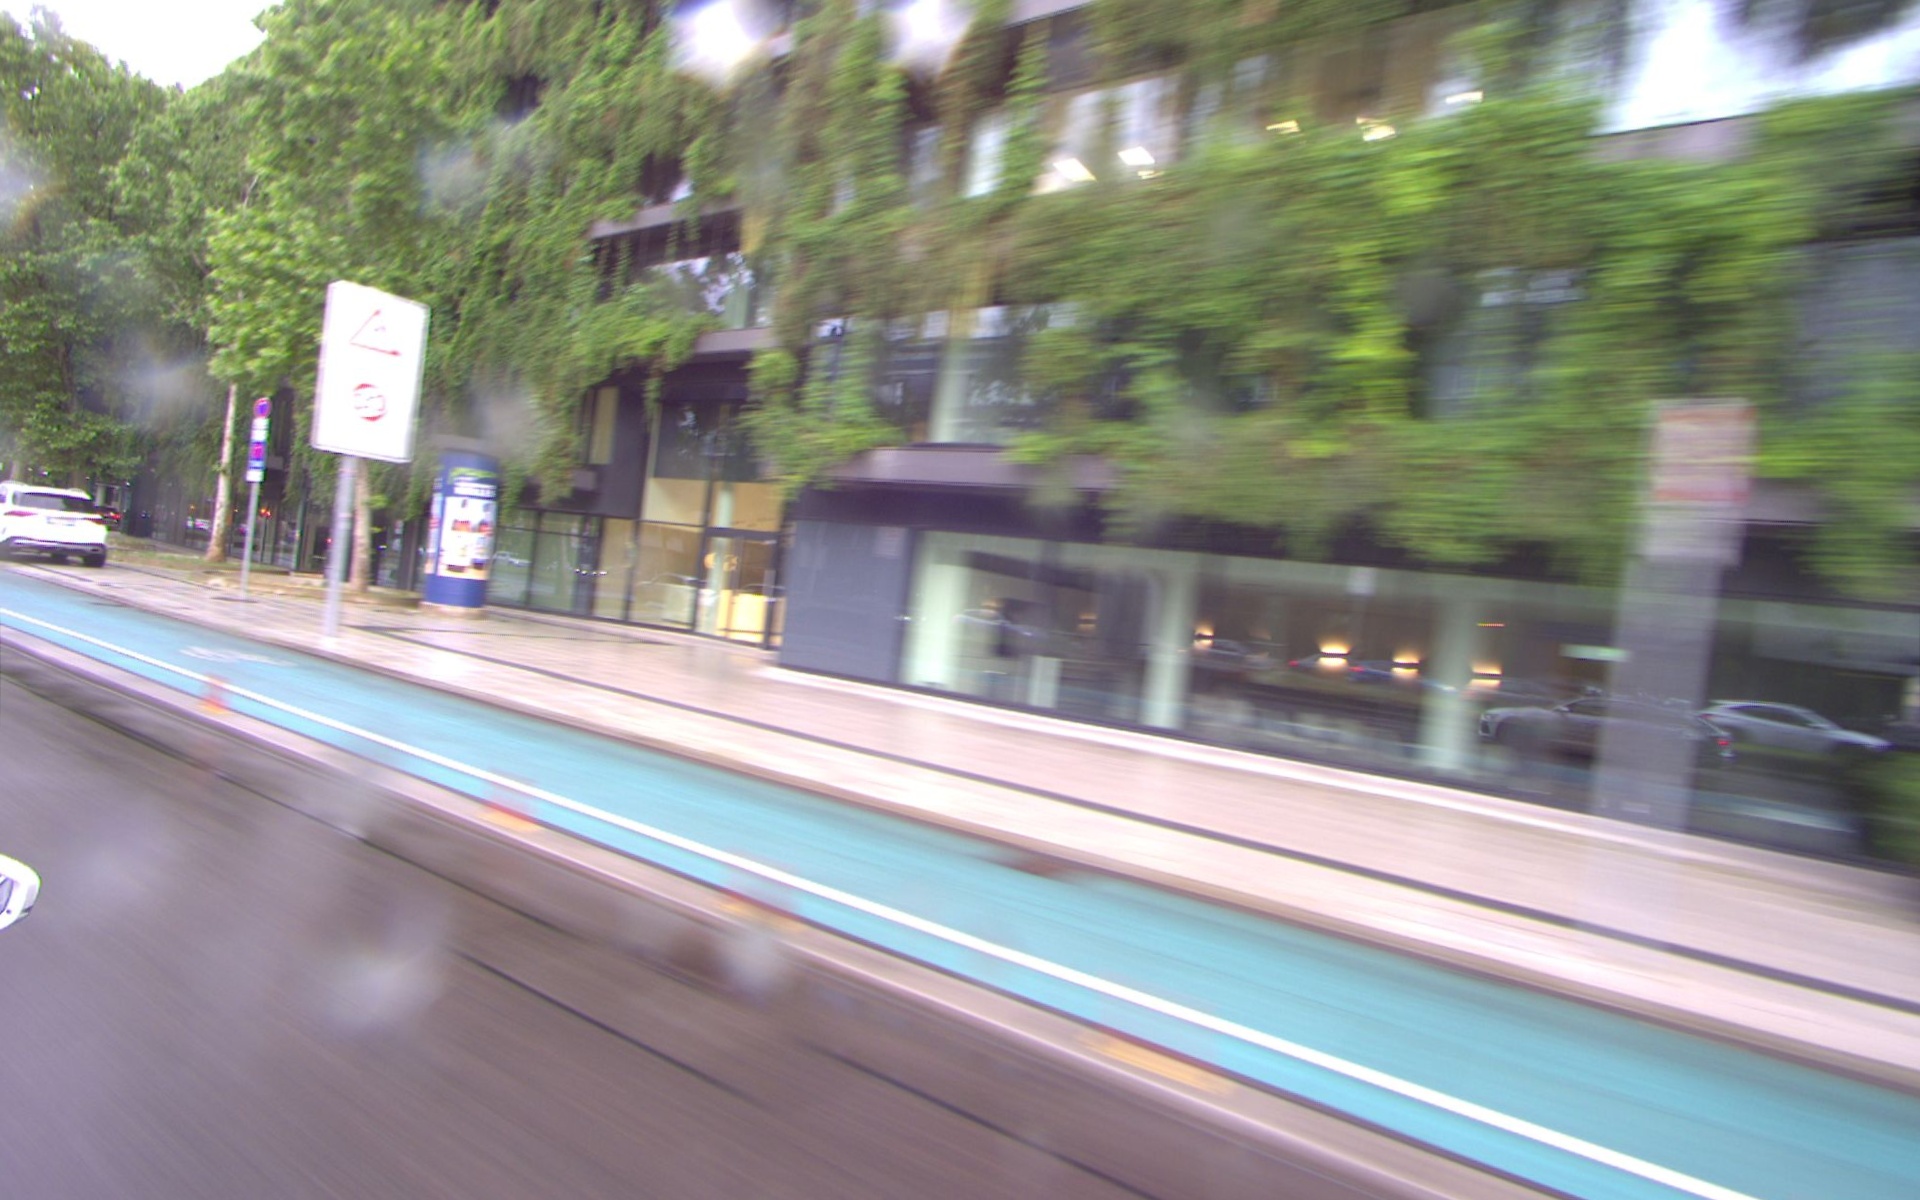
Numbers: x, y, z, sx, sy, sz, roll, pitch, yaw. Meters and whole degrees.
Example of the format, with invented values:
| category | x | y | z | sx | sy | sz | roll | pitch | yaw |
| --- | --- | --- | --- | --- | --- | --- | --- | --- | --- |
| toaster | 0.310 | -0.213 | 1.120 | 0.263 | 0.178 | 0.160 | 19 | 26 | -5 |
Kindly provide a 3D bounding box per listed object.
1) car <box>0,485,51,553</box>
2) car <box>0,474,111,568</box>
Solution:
| category | x | y | z | sx | sy | sz | roll | pitch | yaw |
| --- | --- | --- | --- | --- | --- | --- | --- | --- | --- |
| car | -27.057 | -2.404 | 27.705 | 4.710 | 1.652 | 1.845 | 7 | -1 | 34 |
| car | -22.450 | -2.001 | 24.238 | 5.015 | 1.861 | 1.843 | 7 | 1 | 37 |
